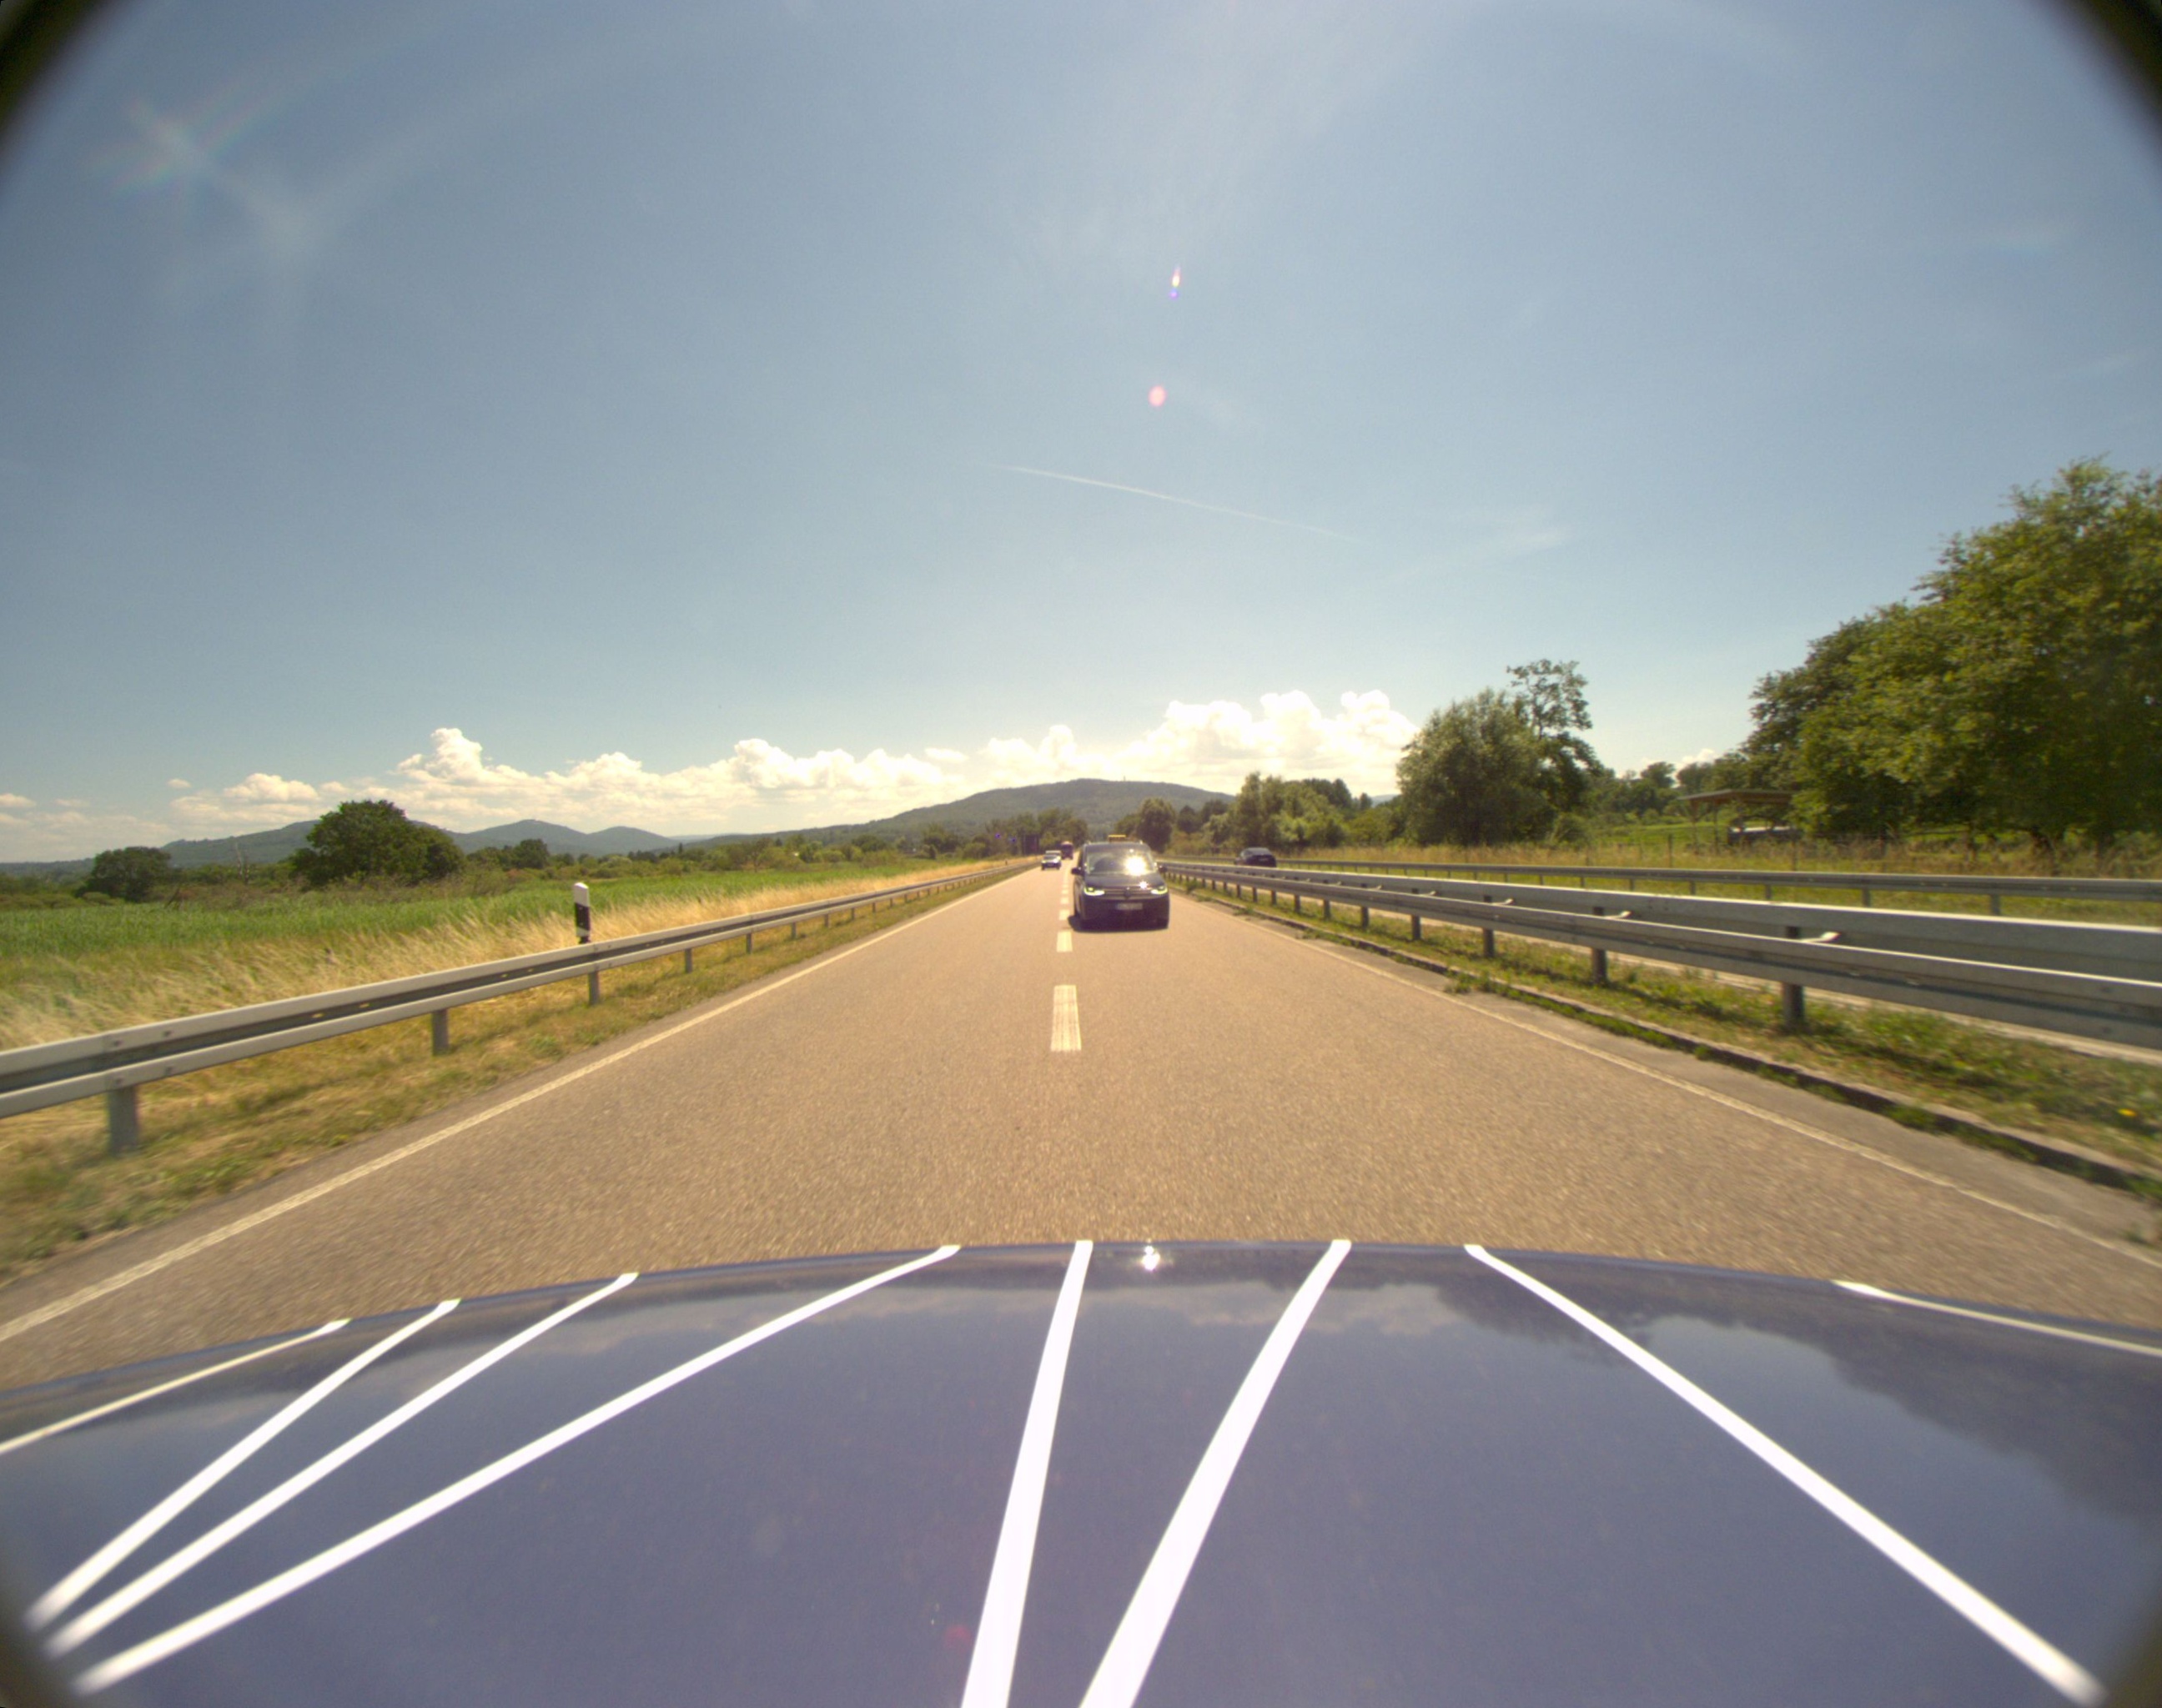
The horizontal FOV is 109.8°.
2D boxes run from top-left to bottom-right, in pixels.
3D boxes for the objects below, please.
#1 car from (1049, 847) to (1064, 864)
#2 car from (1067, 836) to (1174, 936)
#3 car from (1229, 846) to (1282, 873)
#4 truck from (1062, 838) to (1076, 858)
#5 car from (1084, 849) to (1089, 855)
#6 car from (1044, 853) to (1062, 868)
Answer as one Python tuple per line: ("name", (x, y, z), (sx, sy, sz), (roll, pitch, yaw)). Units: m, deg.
("car", (-3.038, 0.145, 95.641), (1.620, 2.085, 3.485), (-2, 1, 0))
("car", (0.723, 0.621, 17.605), (1.859, 1.876, 5.571), (-2, 0, -3))
("car", (11.064, 0.317, 48.514), (1.999, 1.599, 4.961), (-2, 0, -2))
("truck", (-2.570, -1.328, 166.669), (2.827, 4.143, 9.947), (-2, 0, 0))
("car", (1.807, -0.623, 239.248), (1.620, 1.545, 3.485), (-2, 0, 0))
("car", (-2.803, 0.639, 77.233), (1.577, 1.387, 3.485), (-2, 0, 0))
